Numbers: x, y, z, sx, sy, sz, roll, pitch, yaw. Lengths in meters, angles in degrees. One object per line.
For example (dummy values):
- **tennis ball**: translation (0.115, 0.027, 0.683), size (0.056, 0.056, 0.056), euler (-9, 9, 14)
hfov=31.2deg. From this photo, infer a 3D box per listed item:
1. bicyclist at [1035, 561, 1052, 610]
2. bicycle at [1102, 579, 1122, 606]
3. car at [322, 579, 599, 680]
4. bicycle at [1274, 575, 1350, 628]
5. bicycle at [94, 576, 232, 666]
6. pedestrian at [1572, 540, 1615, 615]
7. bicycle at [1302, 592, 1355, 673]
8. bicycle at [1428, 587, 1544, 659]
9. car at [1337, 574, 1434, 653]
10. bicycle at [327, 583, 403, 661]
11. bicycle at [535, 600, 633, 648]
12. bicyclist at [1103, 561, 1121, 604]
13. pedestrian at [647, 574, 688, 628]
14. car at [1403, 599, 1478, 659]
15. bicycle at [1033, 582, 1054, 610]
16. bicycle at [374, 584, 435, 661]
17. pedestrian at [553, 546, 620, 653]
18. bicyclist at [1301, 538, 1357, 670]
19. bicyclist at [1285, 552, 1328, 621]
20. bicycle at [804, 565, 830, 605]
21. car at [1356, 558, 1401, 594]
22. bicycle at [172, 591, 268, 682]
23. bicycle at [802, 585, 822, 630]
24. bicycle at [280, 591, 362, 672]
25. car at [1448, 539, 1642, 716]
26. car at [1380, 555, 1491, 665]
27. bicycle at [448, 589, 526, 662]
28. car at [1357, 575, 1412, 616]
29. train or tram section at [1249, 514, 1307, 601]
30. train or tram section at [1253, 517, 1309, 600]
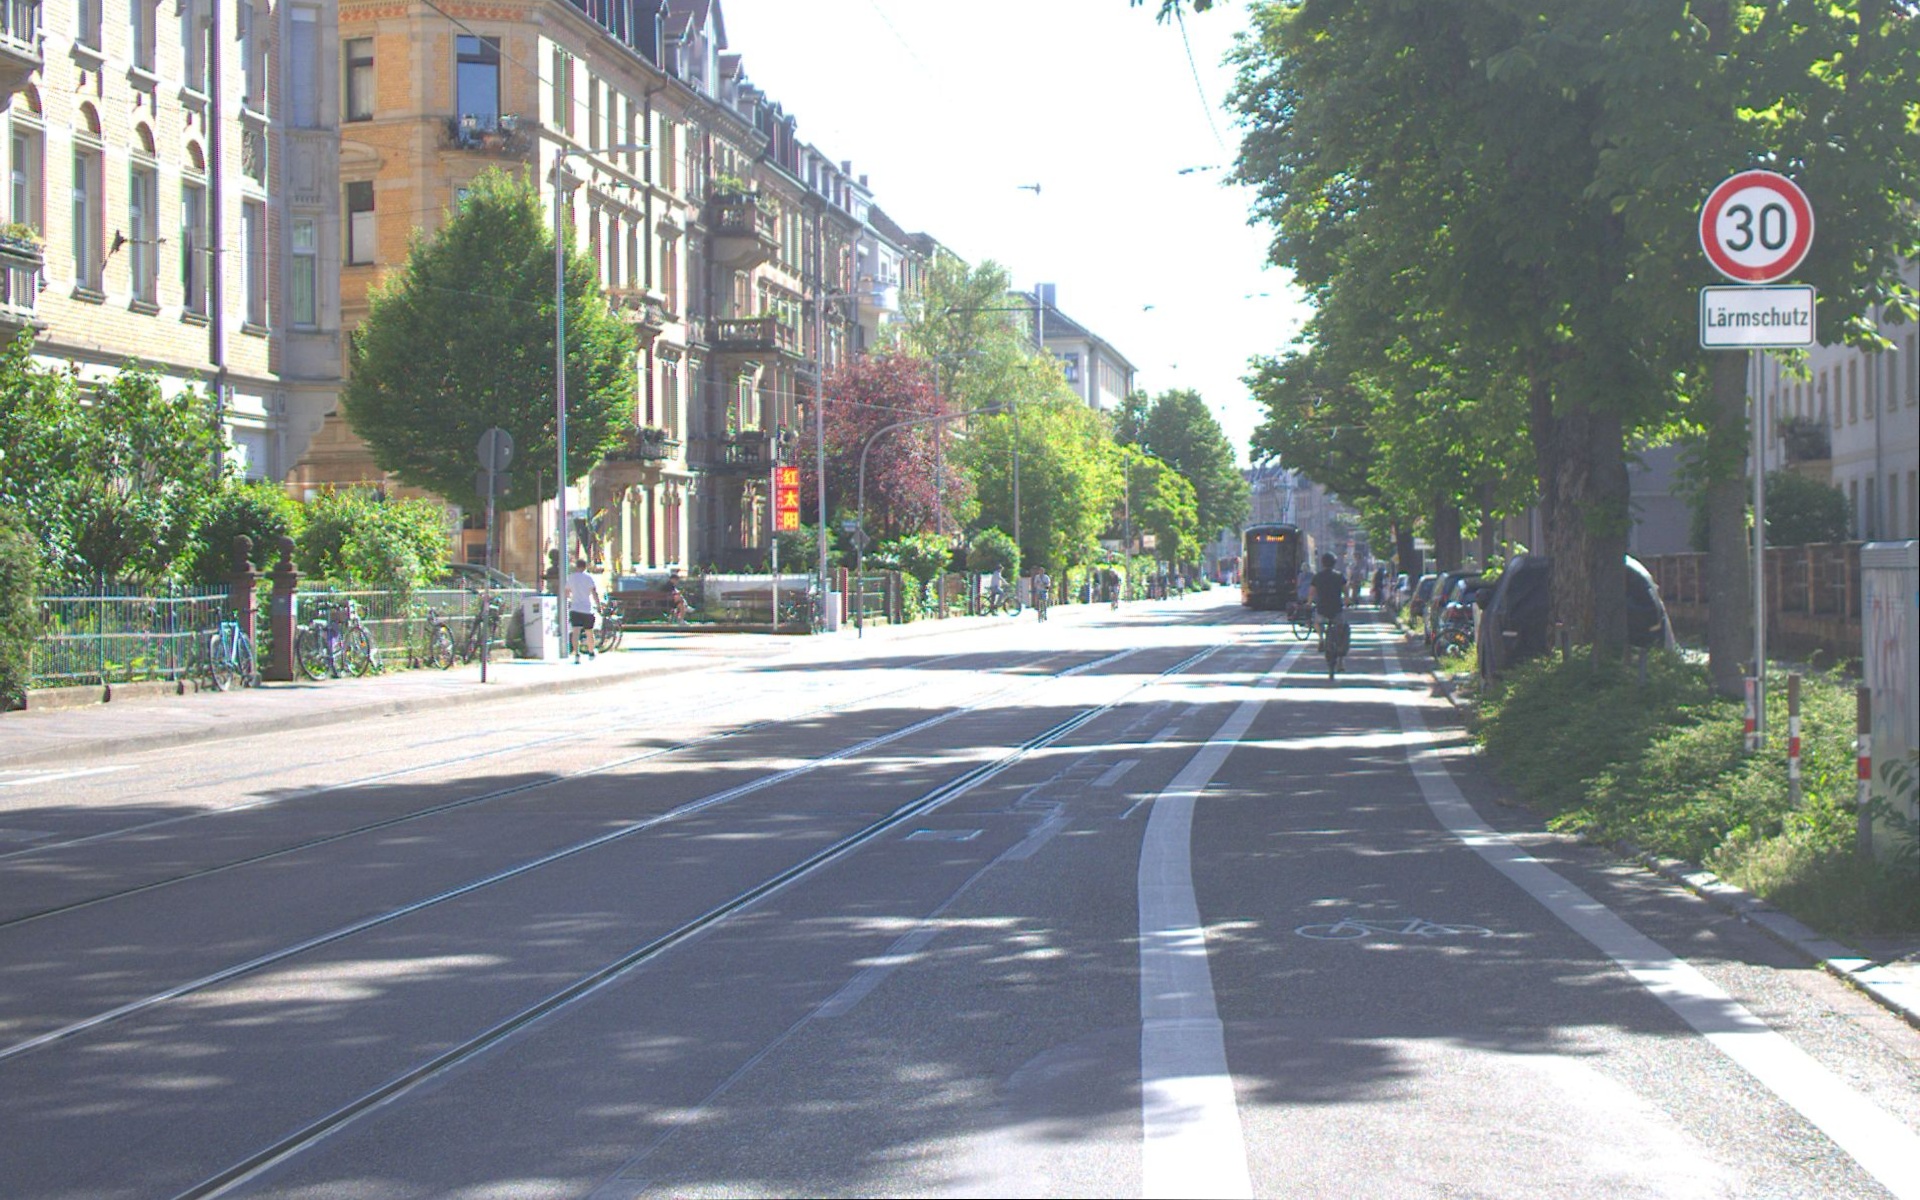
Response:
- **bicyclist**: translation (2.771, -0.493, 114.230), size (0.464, 1.613, 0.744), euler (-2, 0, 7)
- **bicycle**: translation (6.406, -0.324, 145.037), size (0.692, 1.109, 1.718), euler (-1, 0, 7)
- **car**: translation (-8.854, 0.517, 61.124), size (4.447, 1.638, 1.966), euler (2, 0, 10)
- **bicycle**: translation (7.602, 0.036, 74.256), size (0.693, 1.108, 1.913), euler (2, 1, 38)
- **bicycle**: translation (-10.019, 0.257, 43.230), size (1.575, 1.030, 0.479), euler (4, 1, 6)
- **pedestrian**: translation (14.861, -0.529, 80.640), size (0.764, 1.718, 0.578), euler (2, 1, 36)
- **bicycle**: translation (5.258, 0.452, 48.981), size (0.692, 1.108, 1.718), euler (2, 1, 7)
- **bicycle**: translation (8.253, 0.358, 53.922), size (1.762, 1.074, 0.433), euler (2, 0, 8)
- **car**: translation (8.277, 0.246, 67.120), size (1.720, 1.469, 4.245), euler (-1, 0, 5)
- **bicycle**: translation (-8.260, 0.292, 47.784), size (0.563, 1.030, 1.767), euler (2, 1, 6)
- **bicycle**: translation (-7.333, 0.477, 66.999), size (1.782, 0.911, 0.621), euler (1, -1, -29)
- **bicyclist**: translation (6.402, -0.727, 145.047), size (0.660, 1.795, 0.615), euler (-2, -1, 7)
- **pedestrian**: translation (-7.465, 0.018, 87.891), size (0.901, 1.348, 0.577), euler (-2, 0, 8)
- **car**: translation (12.253, 0.720, 87.891), size (1.787, 1.459, 4.043), euler (0, 0, 7)
- **bicycle**: translation (2.776, -0.132, 114.163), size (0.460, 0.923, 2.202), euler (-1, 0, 7)
- **bicycle**: translation (-8.237, 0.322, 50.976), size (0.563, 1.030, 1.768), euler (4, 1, -18)
- **pedestrian**: translation (-6.109, -0.004, 56.316), size (0.829, 1.718, 1.082), euler (2, -1, 6)
- **bicyclist**: translation (5.249, 0.053, 48.918), size (0.727, 1.842, 0.836), euler (2, 0, 6)
- **bicyclist**: translation (7.465, -0.284, 74.086), size (0.636, 1.463, 0.614), euler (2, 1, 38)
- **bicycle**: translation (-3.651, -0.390, 87.821), size (0.335, 0.997, 1.869), euler (2, 1, 7)
- **car**: translation (17.269, -0.996, 142.012), size (1.749, 1.415, 3.999), euler (-1, 0, 6)
- **bicycle**: translation (-9.016, 0.433, 41.940), size (0.563, 1.030, 1.767), euler (2, 2, 7)
- **bicycle**: translation (-3.738, 0.190, 86.893), size (0.371, 1.122, 0.808), euler (2, 0, 7)
- **bicycle**: translation (-8.484, 0.409, 45.719), size (0.563, 1.030, 1.767), euler (2, 1, 6)
- **car**: translation (6.303, 0.262, 37.426), size (1.744, 1.760, 4.477), euler (2, 1, 6)
- **car**: translation (7.908, 0.144, 57.402), size (1.666, 1.755, 4.230), euler (0, 0, 6)
- **bicycle**: translation (-7.303, 0.385, 53.018), size (0.563, 1.030, 1.768), euler (1, 2, -30)
- **car**: translation (15.098, -0.171, 122.384), size (1.628, 1.431, 4.664), euler (0, 0, 4)
- **train or tram section**: translation (13.113, -1.740, 141.318), size (2.154, 3.420, 6.609), euler (2, 1, 6)
- **train or tram section**: translation (13.832, -1.783, 147.918), size (2.154, 3.420, 6.609), euler (2, 1, 6)
